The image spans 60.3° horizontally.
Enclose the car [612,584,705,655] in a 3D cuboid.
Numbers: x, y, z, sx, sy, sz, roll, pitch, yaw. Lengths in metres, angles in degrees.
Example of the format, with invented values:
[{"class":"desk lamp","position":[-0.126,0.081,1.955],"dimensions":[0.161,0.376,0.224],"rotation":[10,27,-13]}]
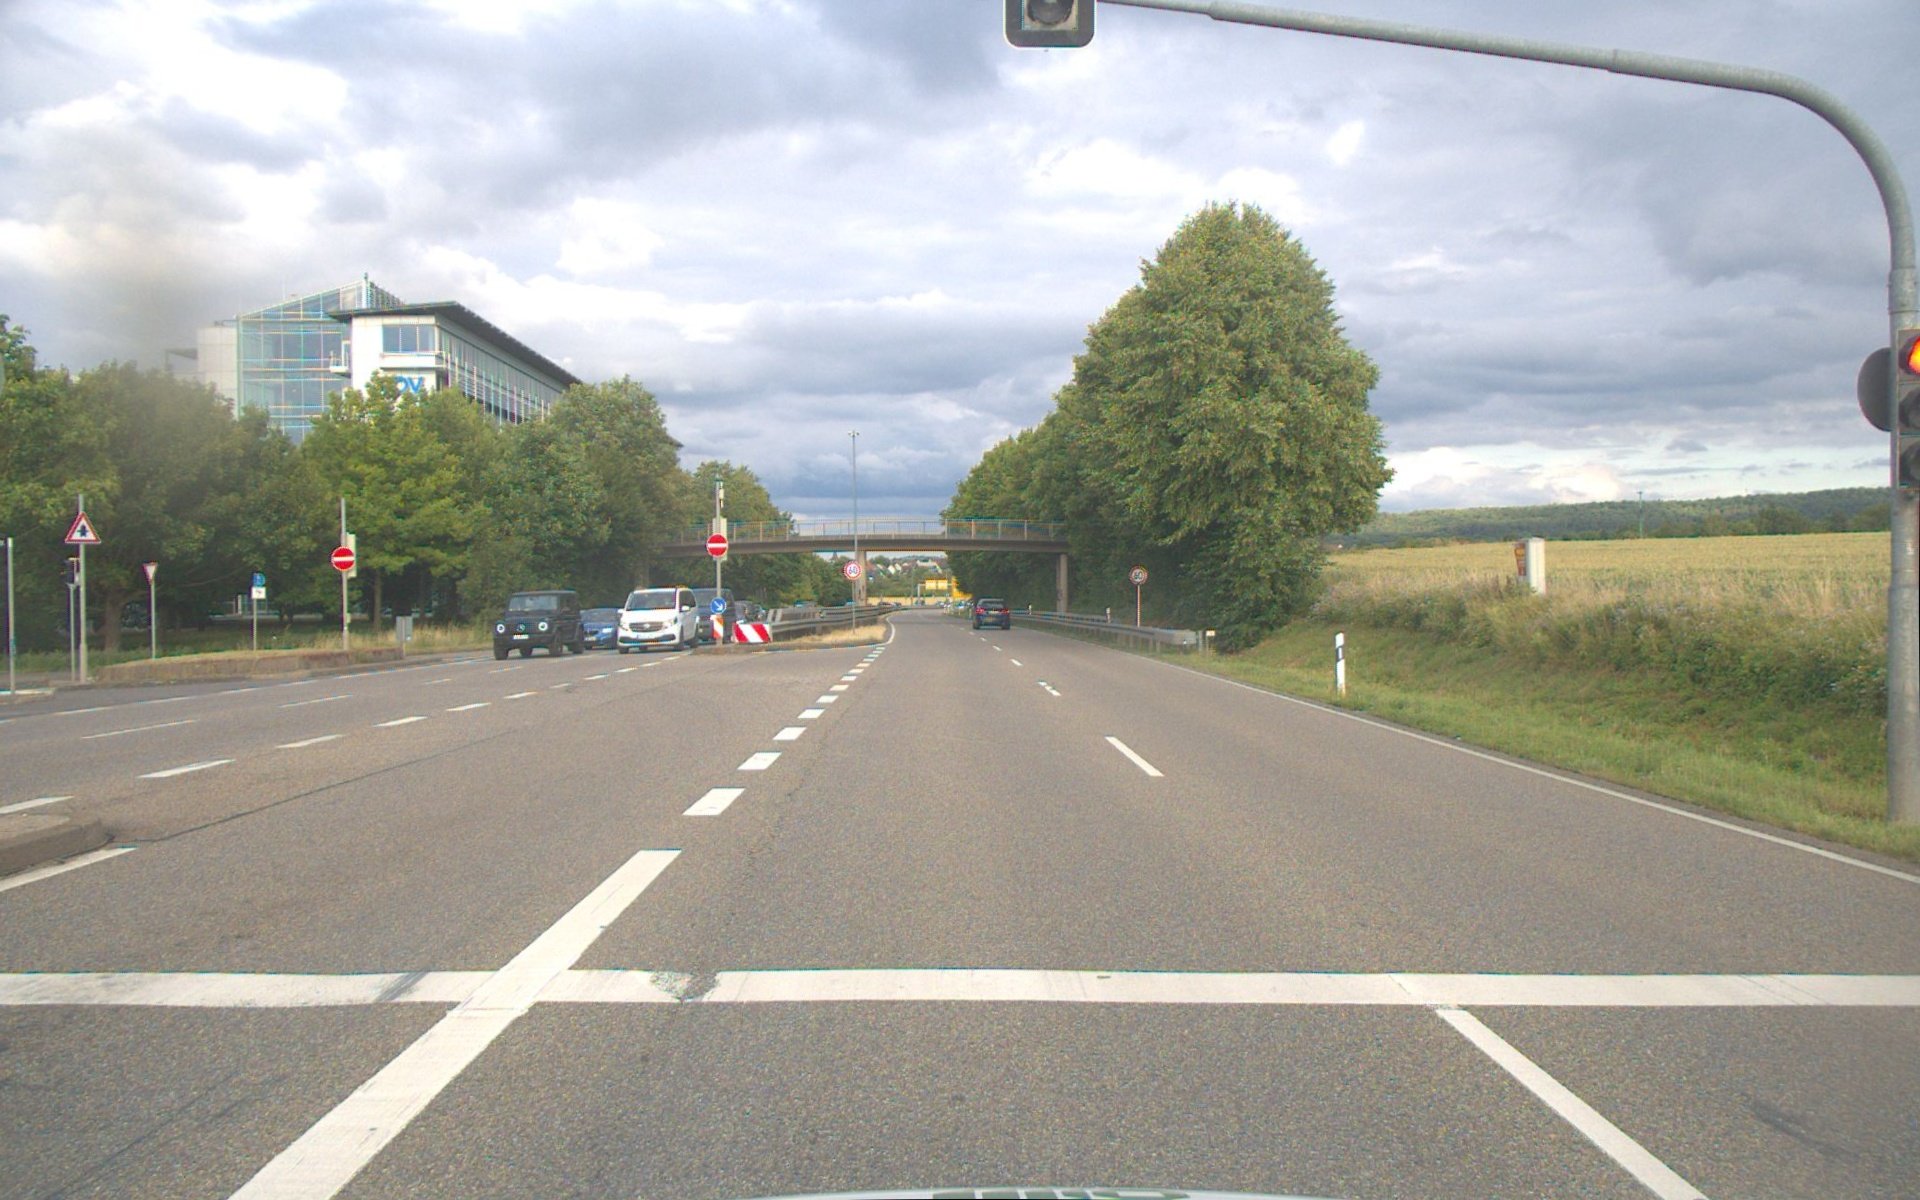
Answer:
[{"class":"car","position":[-9.184,0.584,50.778],"dimensions":[2.041,2.049,5.214],"rotation":[1,0,-2]}]

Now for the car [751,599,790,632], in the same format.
[{"class":"car","position":[-12.137,0.998,106.382],"dimensions":[2.041,2.049,5.214],"rotation":[1,0,-2]}]

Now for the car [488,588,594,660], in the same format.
[{"class":"car","position":[-12.744,0.725,50.608],"dimensions":[2.041,2.049,5.214],"rotation":[1,0,-2]}]

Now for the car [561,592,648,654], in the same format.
[{"class":"car","position":[-12.416,0.776,58.114],"dimensions":[2.041,2.049,5.214],"rotation":[1,0,-2]}]

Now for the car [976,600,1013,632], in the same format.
[{"class":"car","position":[1.753,0.810,85.826],"dimensions":[1.841,1.579,4.000],"rotation":[1,0,0]}]

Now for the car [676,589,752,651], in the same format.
[{"class":"car","position":[-8.652,0.685,58.523],"dimensions":[2.041,2.049,5.214],"rotation":[1,0,-2]}]
